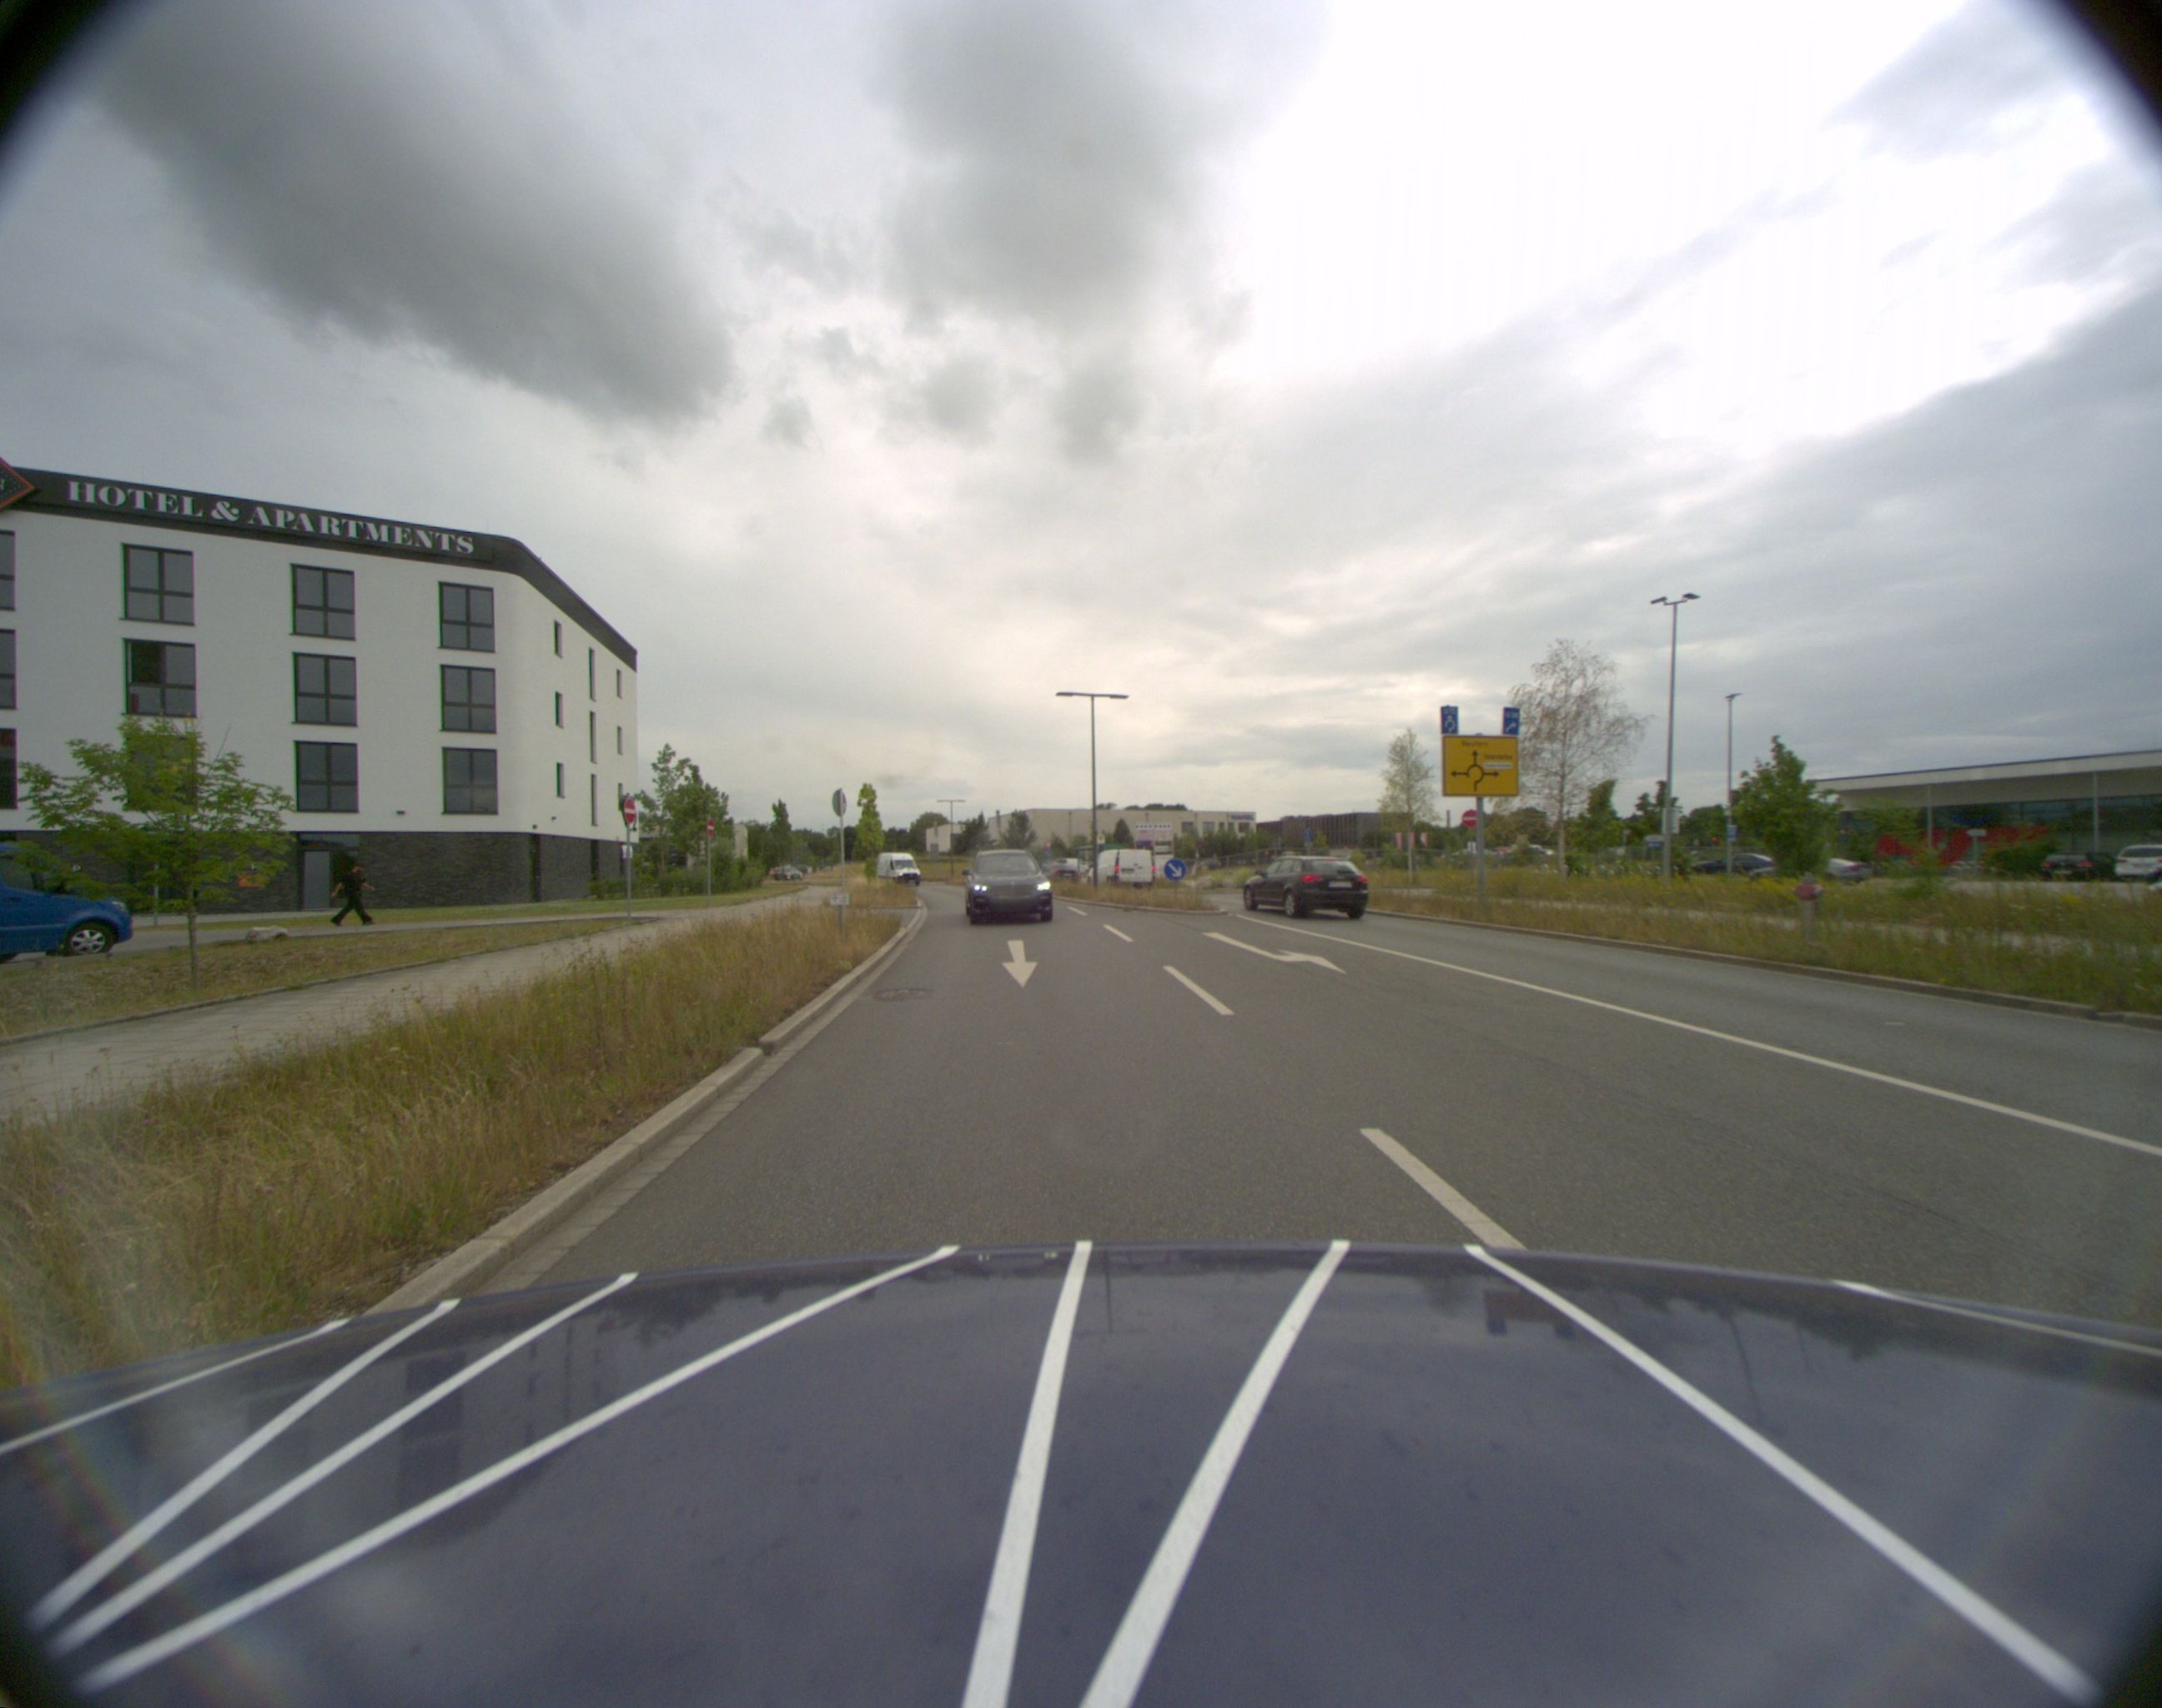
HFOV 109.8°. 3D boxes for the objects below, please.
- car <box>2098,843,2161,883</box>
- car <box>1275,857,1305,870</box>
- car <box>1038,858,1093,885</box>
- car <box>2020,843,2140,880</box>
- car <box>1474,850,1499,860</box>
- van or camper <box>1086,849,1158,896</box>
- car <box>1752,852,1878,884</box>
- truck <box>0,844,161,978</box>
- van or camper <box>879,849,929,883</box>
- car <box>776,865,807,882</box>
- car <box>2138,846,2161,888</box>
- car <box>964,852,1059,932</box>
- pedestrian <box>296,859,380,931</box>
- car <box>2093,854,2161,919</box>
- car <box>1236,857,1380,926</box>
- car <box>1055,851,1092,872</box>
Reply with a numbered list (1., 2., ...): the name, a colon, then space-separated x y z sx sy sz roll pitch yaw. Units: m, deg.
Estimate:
1. car: 48.892 0.359 34.364 4.001 1.718 1.951 -1 0 -12
2. car: 30.483 1.380 110.807 4.006 1.707 1.995 -2 1 -30
3. car: -1.002 1.017 45.116 2.173 1.474 4.897 -1 0 -15
4. car: 48.505 0.353 36.919 4.001 1.718 1.998 -1 0 -12
5. car: 68.787 0.164 128.935 4.006 1.707 1.995 -2 1 -30
6. van or camper: 1.783 0.781 34.877 1.953 1.996 5.122 0 0 -13
7. car: 36.746 0.671 38.189 1.833 1.443 4.190 -1 0 -16
8. truck: -19.653 0.991 11.284 2.233 2.312 8.212 -1 0 -3
9. van or camper: -14.368 0.960 61.416 2.269 2.601 5.683 -1 0 -30
10. car: -29.562 1.976 77.546 2.003 1.576 3.990 -2 1 -34
11. car: 38.033 0.421 24.632 1.851 1.433 4.059 -1 0 -20
12. car: -1.766 0.812 18.336 2.000 1.654 3.997 -2 0 -8
13. pedestrian: -20.191 1.080 20.681 1.195 1.847 1.073 -1 2 -12
14. car: 25.277 0.666 16.330 4.580 1.358 2.141 -1 0 -5
15. car: 5.356 0.809 18.563 1.723 1.437 4.231 0 0 -9
16. car: -0.838 0.854 87.725 1.995 2.231 4.598 -1 1 32
